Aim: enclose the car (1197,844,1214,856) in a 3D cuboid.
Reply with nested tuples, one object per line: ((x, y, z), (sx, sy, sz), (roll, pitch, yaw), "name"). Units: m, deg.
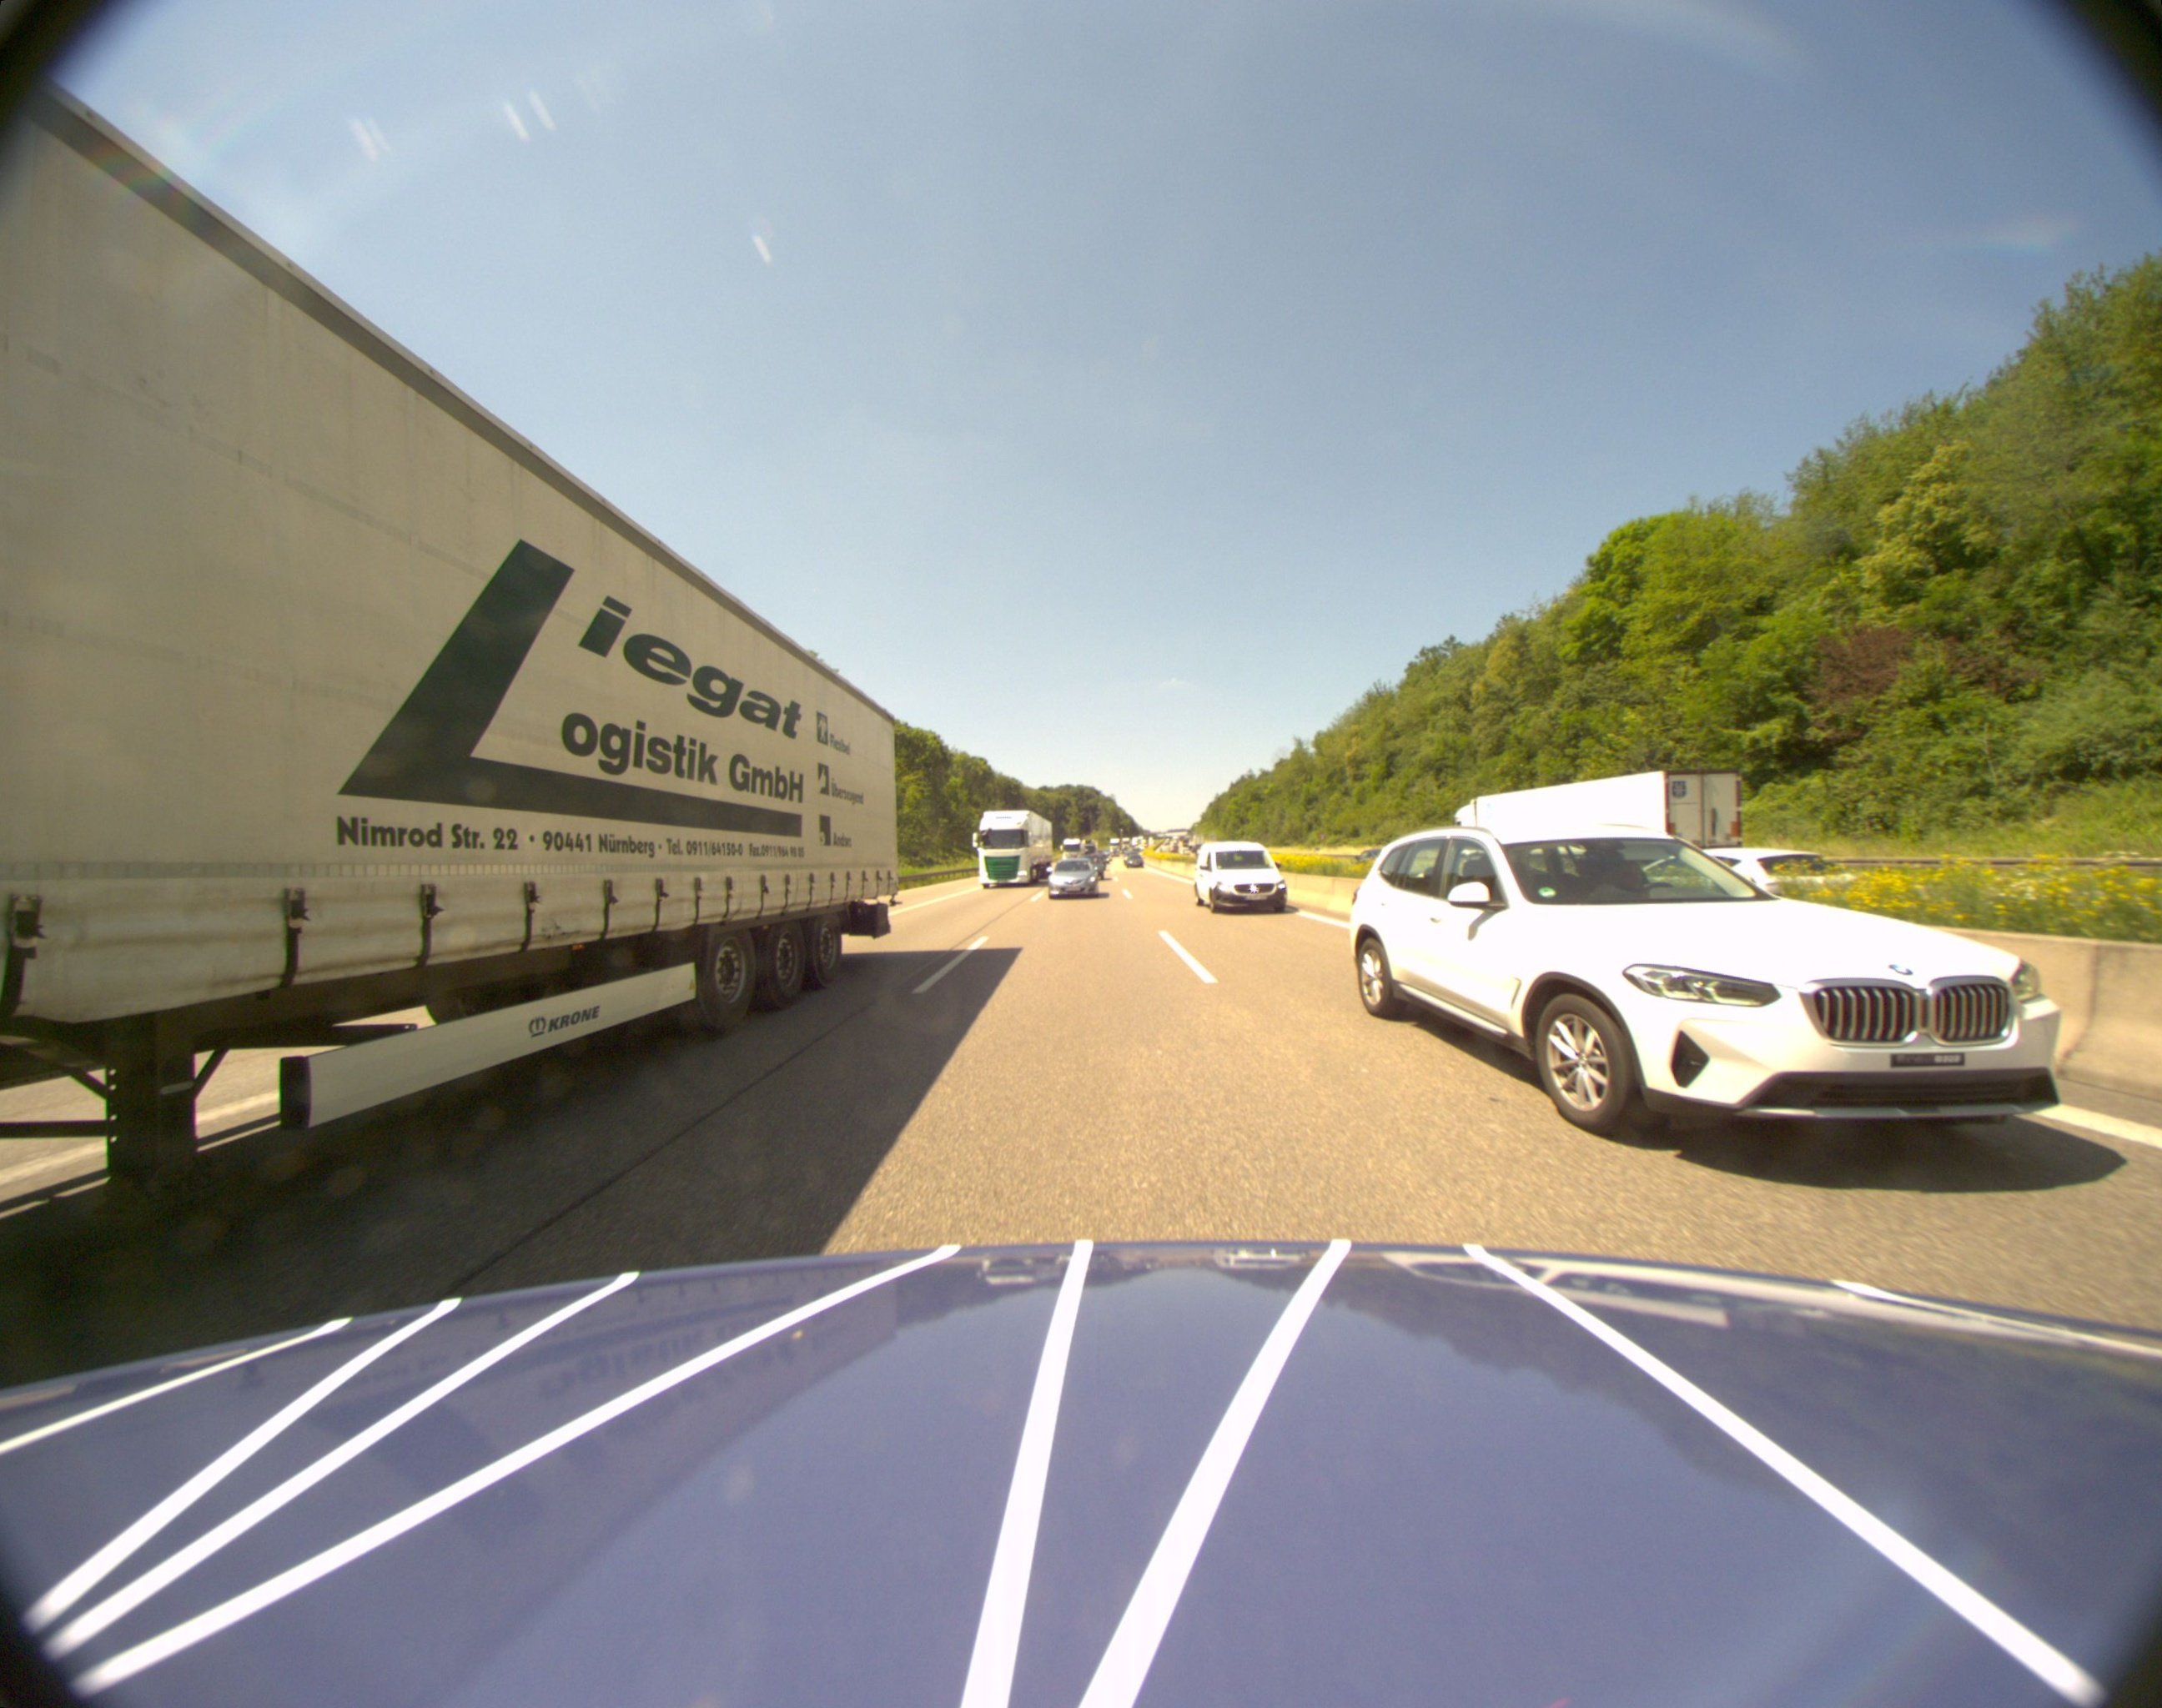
((19.069, -0.615, 116.741), (1.998, 1.718, 4.000), (-2, 0, 2), "car")

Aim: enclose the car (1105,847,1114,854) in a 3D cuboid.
((7.571, -0.875, 201.942), (1.998, 1.728, 4.000), (-2, 1, 4), "car")

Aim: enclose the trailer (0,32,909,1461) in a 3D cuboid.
((-4.473, -0.275, 6.140), (2.793, 4.180, 13.245), (-2, -1, 1), "trailer")

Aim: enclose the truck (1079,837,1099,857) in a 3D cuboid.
((1.545, -1.423, 147.147), (3.558, 3.695, 7.550), (-2, 1, 2), "truck")

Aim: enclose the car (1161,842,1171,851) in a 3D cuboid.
((19.037, -1.697, 170.329), (1.998, 2.002, 4.900), (-2, 1, 2), "car")

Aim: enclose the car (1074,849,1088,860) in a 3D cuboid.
((0.008, 0.042, 115.216), (1.924, 1.652, 3.826), (-2, 1, 2), "car")

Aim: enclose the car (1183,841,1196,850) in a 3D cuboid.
((21.443, -1.666, 149.823), (1.998, 1.740, 4.000), (-2, 0, 2), "car")

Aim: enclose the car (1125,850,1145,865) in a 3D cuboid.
((5.593, 0.365, 79.403), (1.720, 1.470, 4.000), (-2, 0, 0), "car")

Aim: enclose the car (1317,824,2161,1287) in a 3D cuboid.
((3.375, 0.751, 5.319), (1.869, 1.684, 4.955), (-2, 0, 0), "car")

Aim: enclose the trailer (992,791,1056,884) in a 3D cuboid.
((-3.403, -1.039, 49.471), (2.574, 5.011, 15.270), (-2, 1, 1), "trailer")

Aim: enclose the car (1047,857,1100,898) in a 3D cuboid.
((-0.248, 0.865, 29.978), (1.887, 1.458, 4.248), (-2, 0, 1), "car")

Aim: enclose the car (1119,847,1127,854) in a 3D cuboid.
((11.331, -1.022, 204.843), (1.998, 1.728, 4.000), (-2, 1, 4), "car")

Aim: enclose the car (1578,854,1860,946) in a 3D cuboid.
((11.334, 0.712, 13.950), (1.627, 1.378, 4.137), (-2, 0, -1), "car")

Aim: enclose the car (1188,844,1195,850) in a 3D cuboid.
((29.315, -1.876, 201.689), (1.618, 1.381, 3.508), (-2, 0, 2), "car")

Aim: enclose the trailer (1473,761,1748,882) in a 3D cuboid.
((22.229, -1.247, 33.712), (2.721, 4.183, 13.931), (-2, 1, 1), "trailer")

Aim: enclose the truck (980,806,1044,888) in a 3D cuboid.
((-3.591, -0.410, 41.138), (2.541, 4.006, 6.625), (-2, 1, 2), "truck")

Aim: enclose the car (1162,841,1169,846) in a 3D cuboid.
((28.139, -3.452, 253.303), (1.922, 1.658, 4.000), (-2, 1, 2), "car")

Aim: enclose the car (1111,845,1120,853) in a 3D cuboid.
((8.043, -1.114, 178.002), (1.998, 1.728, 4.000), (-2, 1, 2), "car")

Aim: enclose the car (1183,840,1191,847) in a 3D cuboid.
((35.757, -3.565, 256.713), (1.998, 2.416, 4.000), (-2, 1, 2), "car")

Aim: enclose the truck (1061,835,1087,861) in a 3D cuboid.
((-0.915, -0.841, 104.716), (3.263, 3.337, 6.862), (-2, 1, 1), "truck")

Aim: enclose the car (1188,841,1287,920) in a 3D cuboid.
((4.035, 0.628, 20.324), (1.769, 1.802, 4.674), (-2, 0, 2), "car")

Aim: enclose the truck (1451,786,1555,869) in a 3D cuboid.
((22.407, -1.357, 40.655), (2.696, 4.066, 5.203), (-2, 1, 2), "truck")

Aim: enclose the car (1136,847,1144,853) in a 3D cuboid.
((14.741, -0.930, 190.402), (1.998, 1.426, 4.001), (-2, 0, 4), "car")

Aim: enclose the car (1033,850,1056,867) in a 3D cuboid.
((-3.510, 0.412, 73.347), (1.933, 1.534, 3.756), (-2, 0, 2), "car")

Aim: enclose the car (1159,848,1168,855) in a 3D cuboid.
((20.235, -0.657, 187.105), (1.998, 1.543, 4.000), (-2, 0, 2), "car")

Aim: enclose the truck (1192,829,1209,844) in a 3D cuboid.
((35.838, -5.286, 228.453), (3.718, 4.171, 13.793), (-2, 1, 3), "truck")

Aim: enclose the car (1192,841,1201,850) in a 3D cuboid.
((26.474, -2.055, 174.401), (1.637, 2.002, 4.000), (-2, 1, 2), "car")

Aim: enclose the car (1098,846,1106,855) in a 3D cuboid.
((5.039, -0.760, 181.832), (1.964, 2.002, 4.000), (-2, 0, 1), "car")

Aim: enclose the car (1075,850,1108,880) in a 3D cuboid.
((0.635, 0.648, 47.077), (1.887, 1.696, 4.084), (-2, 0, 1), "car")

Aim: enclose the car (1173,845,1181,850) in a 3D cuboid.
((25.618, -1.701, 202.153), (1.673, 1.381, 3.508), (-2, 0, 2), "car")

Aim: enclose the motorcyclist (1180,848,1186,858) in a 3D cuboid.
((14.156, -0.133, 105.478), (0.624, 1.326, 0.577), (-2, 1, 0), "motorcyclist")

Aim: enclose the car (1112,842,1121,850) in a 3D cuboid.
((11.134, -2.497, 237.745), (2.697, 2.467, 6.585), (-2, 1, 4), "car")
